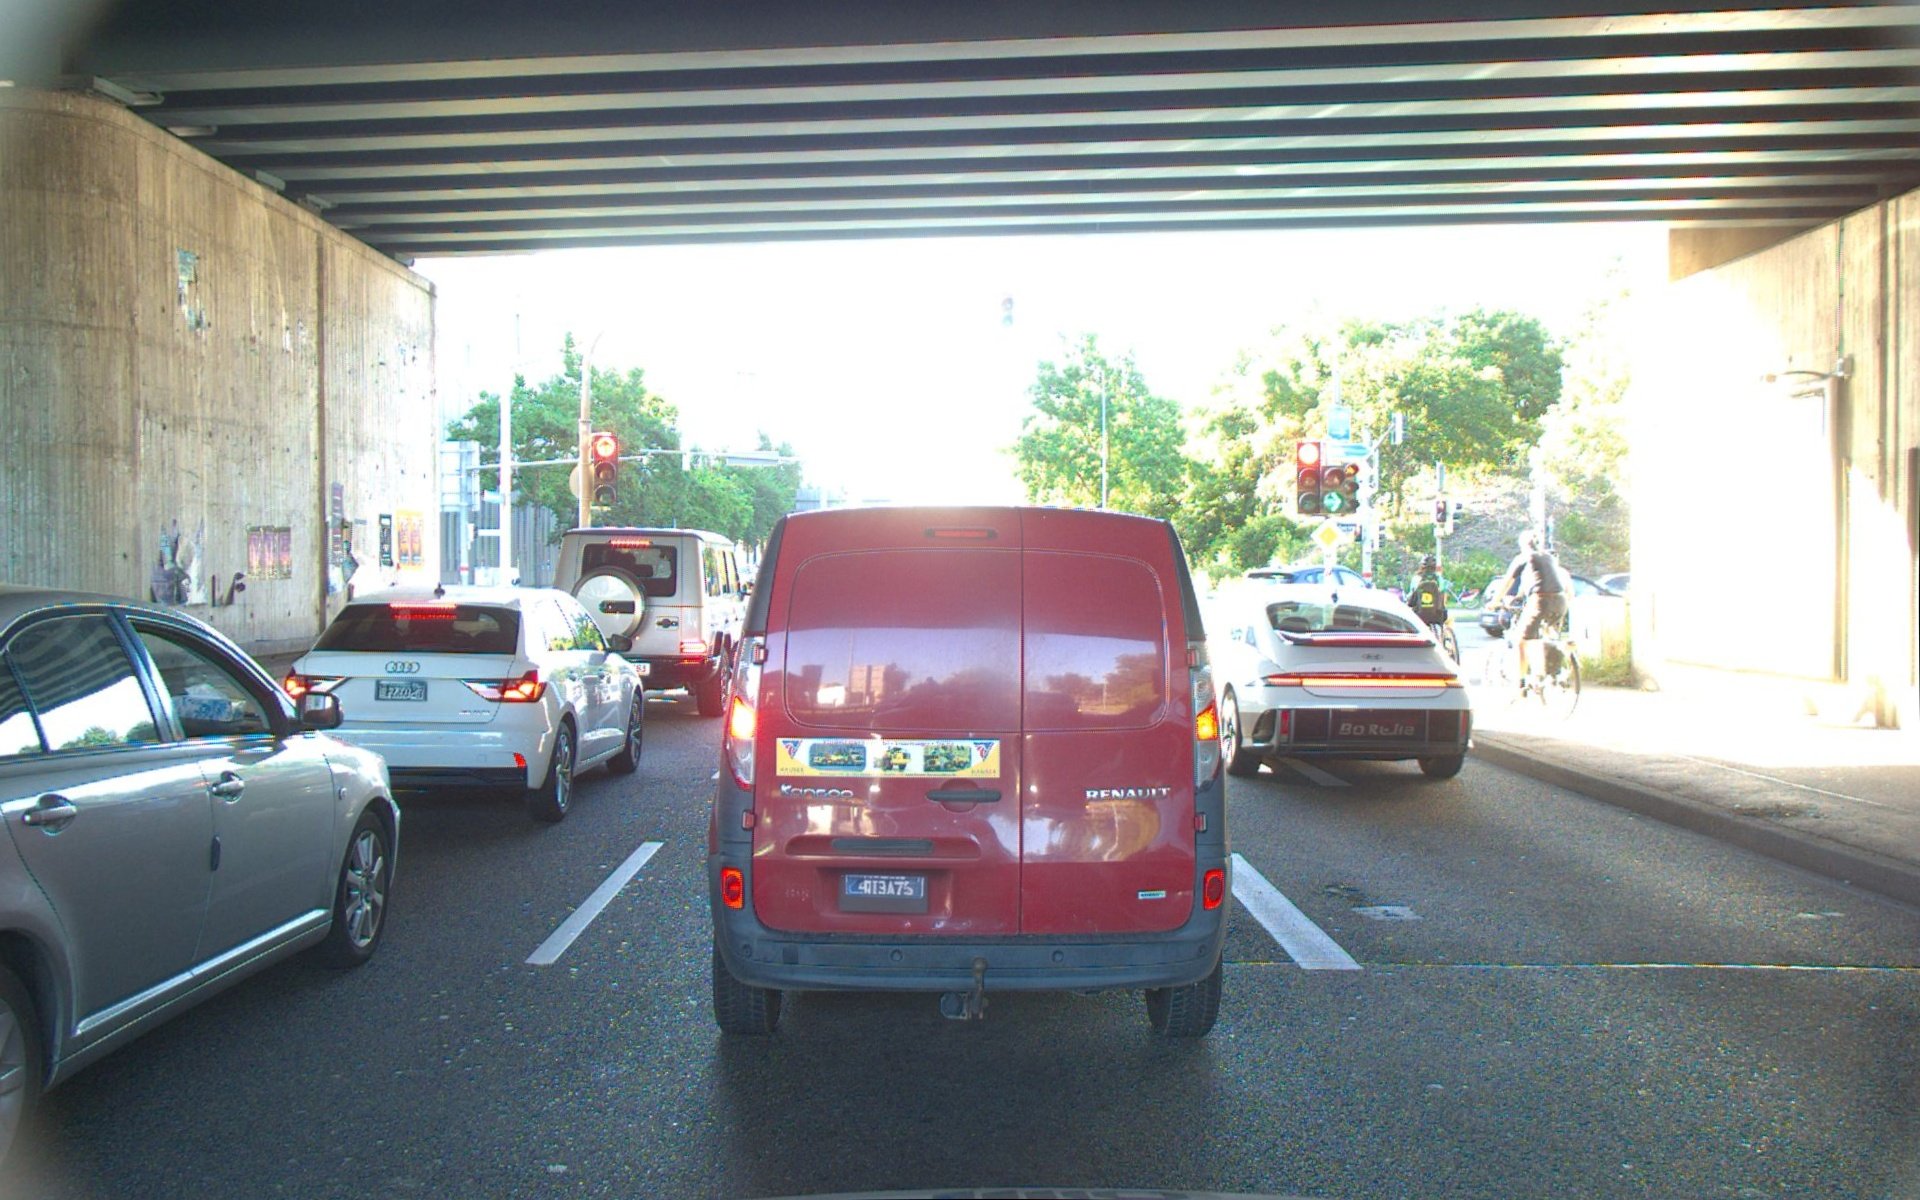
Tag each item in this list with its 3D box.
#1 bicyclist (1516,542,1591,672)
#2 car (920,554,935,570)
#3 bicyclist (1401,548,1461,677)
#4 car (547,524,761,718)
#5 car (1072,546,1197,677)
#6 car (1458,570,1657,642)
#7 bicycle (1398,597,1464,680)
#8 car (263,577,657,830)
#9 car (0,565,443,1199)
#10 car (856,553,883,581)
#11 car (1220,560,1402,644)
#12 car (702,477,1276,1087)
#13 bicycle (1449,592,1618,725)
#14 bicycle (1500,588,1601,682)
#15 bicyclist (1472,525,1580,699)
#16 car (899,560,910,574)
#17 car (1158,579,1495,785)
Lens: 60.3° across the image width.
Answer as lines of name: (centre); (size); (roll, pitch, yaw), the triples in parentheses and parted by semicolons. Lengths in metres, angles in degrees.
bicyclist: (7.424, 0.088, 20.725); (0.656, 1.589, 0.735); (0, 0, -1)
car: (-4.372, -5.057, 220.653); (1.953, 2.049, 3.999); (1, 0, -1)
bicyclist: (6.207, 0.165, 21.805); (0.663, 1.657, 0.644); (1, 0, 10)
car: (-3.344, 0.203, 18.731); (1.777, 1.937, 3.812); (1, 0, -2)
car: (2.706, 0.128, 26.138); (1.775, 1.865, 4.303); (1, 1, 5)
car: (13.494, 0.136, 37.469); (3.800, 1.489, 1.841); (1, 0, -6)
bicycle: (6.206, 0.490, 21.831); (0.662, 1.042, 1.530); (1, 0, 10)
car: (-3.221, 0.585, 11.422); (1.658, 1.435, 3.812); (1, 0, -2)
car: (-3.012, 0.639, 4.890); (1.662, 1.480, 4.397); (1, 0, -2)
car: (-7.126, -2.594, 131.091); (1.953, 2.049, 3.999); (1, 0, -1)
car: (7.412, 0.059, 34.733); (4.076, 1.651, 1.782); (1, 0, -44)
car: (0.061, 0.532, 6.929); (1.684, 1.795, 3.999); (1, 0, -1)
bicycle: (5.686, 0.533, 16.572); (0.750, 1.166, 2.469); (-2, 1, -2)
bicycle: (7.422, 0.429, 20.844); (0.667, 1.132, 1.603); (0, 0, -1)
bicyclist: (5.664, 0.122, 16.599); (0.731, 1.684, 0.886); (1, 0, -2)
car: (-8.766, -5.207, 260.916); (1.712, 2.049, 3.843); (1, 0, -1)
car: (2.971, 0.587, 14.451); (1.711, 1.481, 4.662); (1, 0, -3)
